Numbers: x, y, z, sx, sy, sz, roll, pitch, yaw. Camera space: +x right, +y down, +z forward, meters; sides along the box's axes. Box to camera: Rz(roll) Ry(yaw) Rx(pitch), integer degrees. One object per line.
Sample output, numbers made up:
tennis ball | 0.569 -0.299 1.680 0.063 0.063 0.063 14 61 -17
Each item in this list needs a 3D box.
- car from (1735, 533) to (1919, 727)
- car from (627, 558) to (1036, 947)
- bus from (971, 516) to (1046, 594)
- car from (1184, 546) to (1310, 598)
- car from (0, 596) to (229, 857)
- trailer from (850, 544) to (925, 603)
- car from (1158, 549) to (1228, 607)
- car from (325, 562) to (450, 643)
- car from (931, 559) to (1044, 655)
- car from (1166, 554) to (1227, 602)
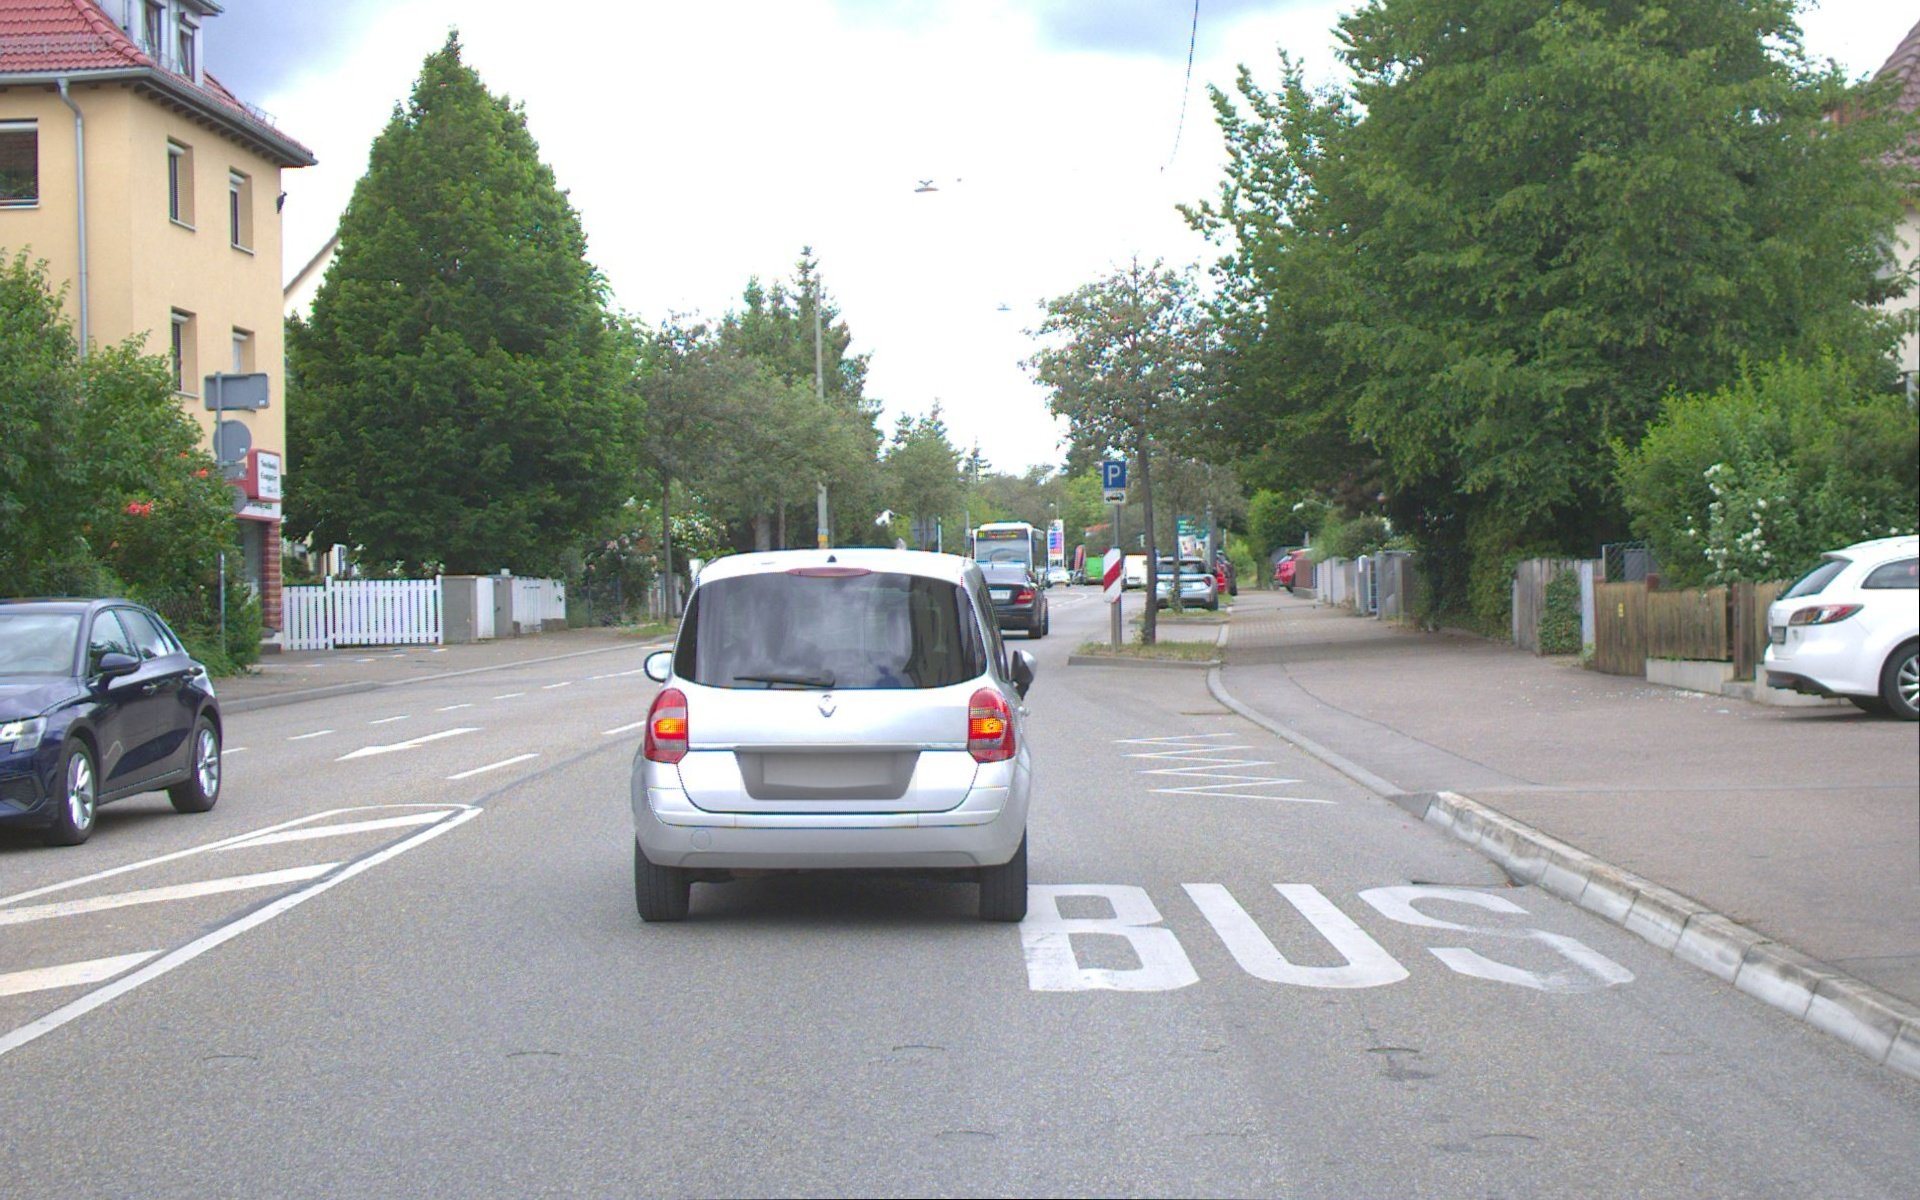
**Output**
car | 8.749 0.164 28.033 4.420 1.483 1.865 -3 -1 3
car | -0.562 0.623 15.764 1.630 1.551 4.000 0 0 -1
bus | 2.130 -1.891 146.712 2.632 3.075 12.069 -3 0 3
car | 9.781 -0.951 117.372 3.986 1.491 1.810 -4 0 -4
car | -5.747 0.722 20.794 1.564 1.415 4.130 -1 -1 3
trailer | -2.605 -0.935 125.193 2.312 2.079 5.872 0 0 3
car | 5.792 -0.530 85.016 1.650 1.378 3.999 -1 0 5
car | -12.313 0.023 74.186 1.806 1.559 4.618 -3 1 0
car | 0.536 0.116 63.120 1.829 1.670 3.574 -1 0 4
car | 7.181 -0.688 104.017 1.663 1.388 3.667 -1 1 6
